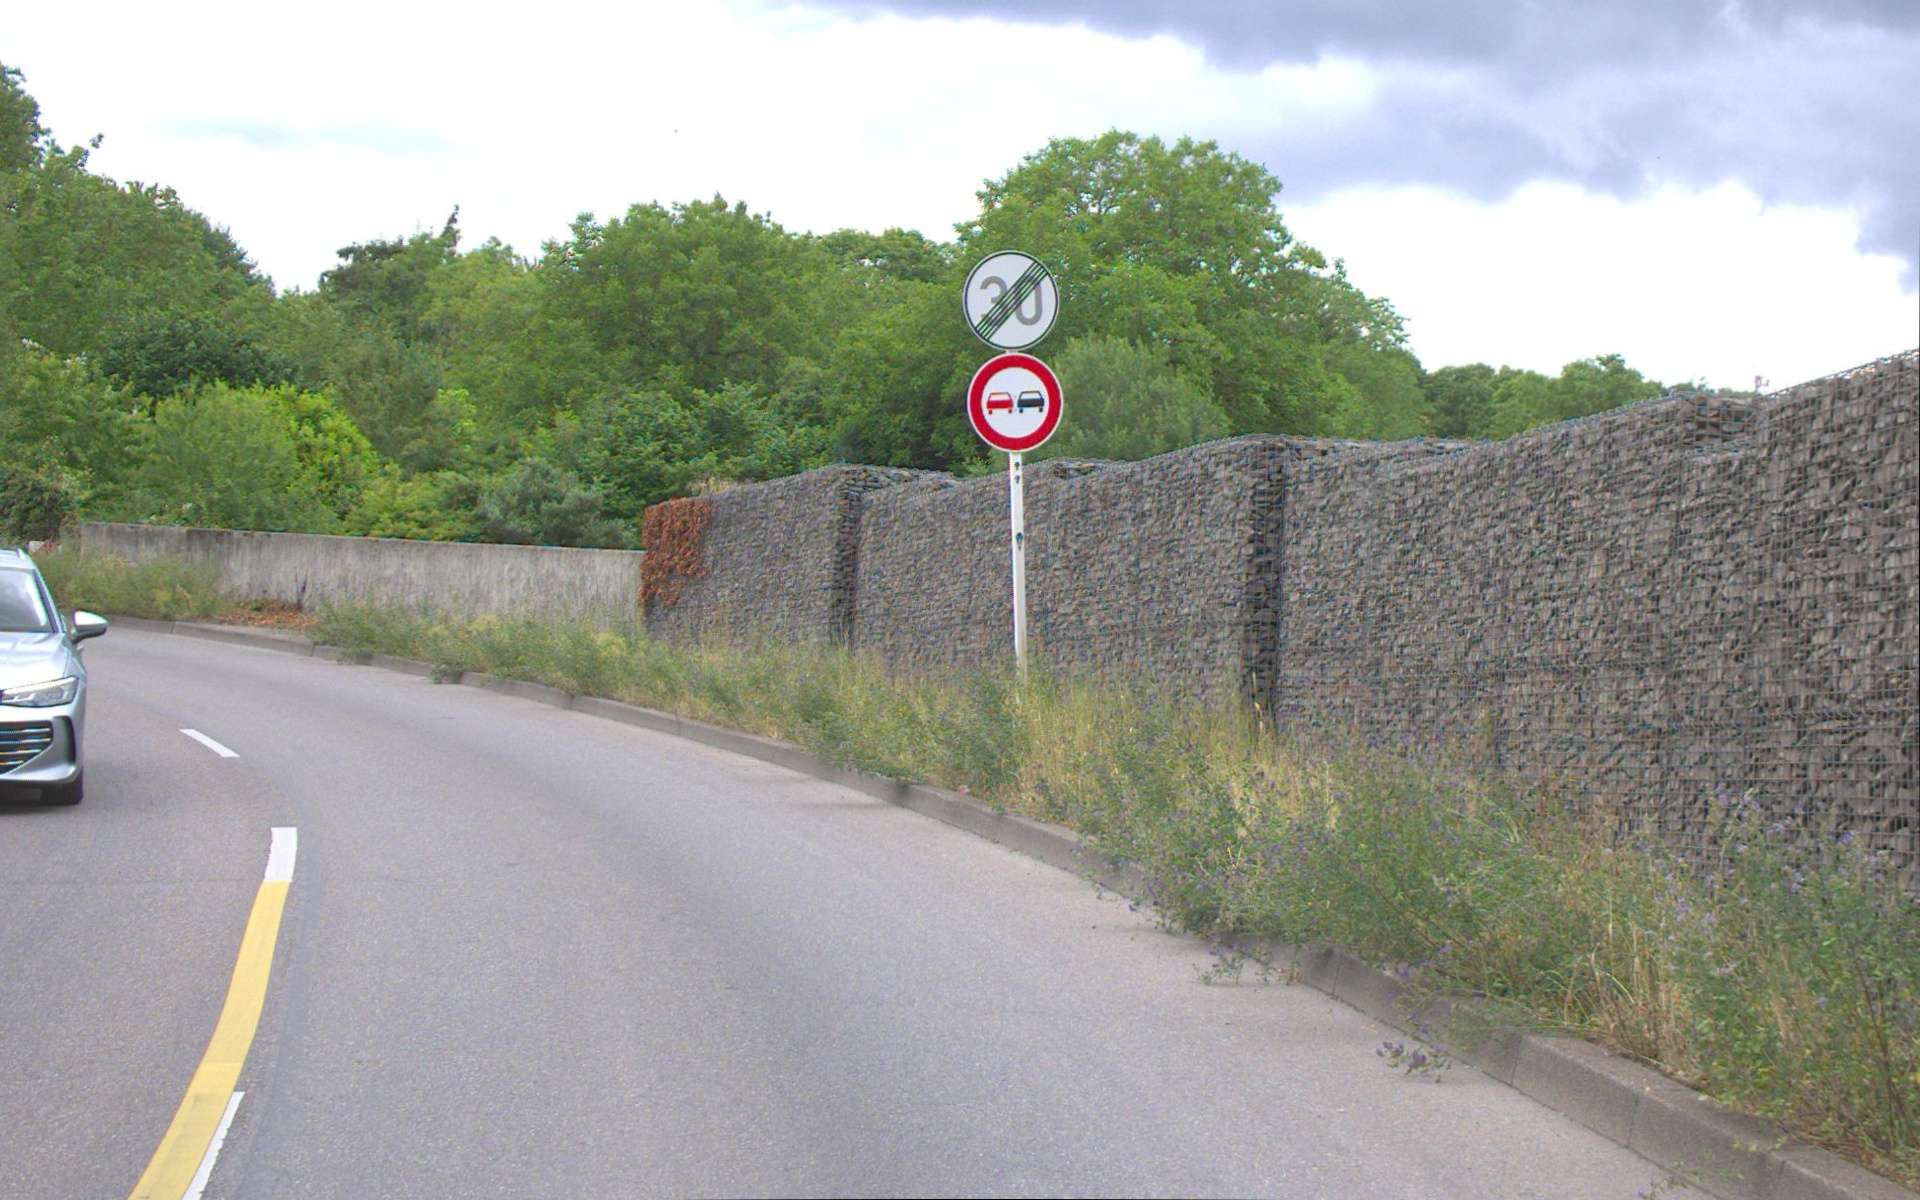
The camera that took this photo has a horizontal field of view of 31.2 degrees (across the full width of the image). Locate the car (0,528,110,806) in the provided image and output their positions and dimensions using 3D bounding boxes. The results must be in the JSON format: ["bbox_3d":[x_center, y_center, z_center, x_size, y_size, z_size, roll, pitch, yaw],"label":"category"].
[{"bbox_3d":[-6.221,0.325,20.987,1.881,1.472,4.603,0,2,-12],"label":"car"}]
